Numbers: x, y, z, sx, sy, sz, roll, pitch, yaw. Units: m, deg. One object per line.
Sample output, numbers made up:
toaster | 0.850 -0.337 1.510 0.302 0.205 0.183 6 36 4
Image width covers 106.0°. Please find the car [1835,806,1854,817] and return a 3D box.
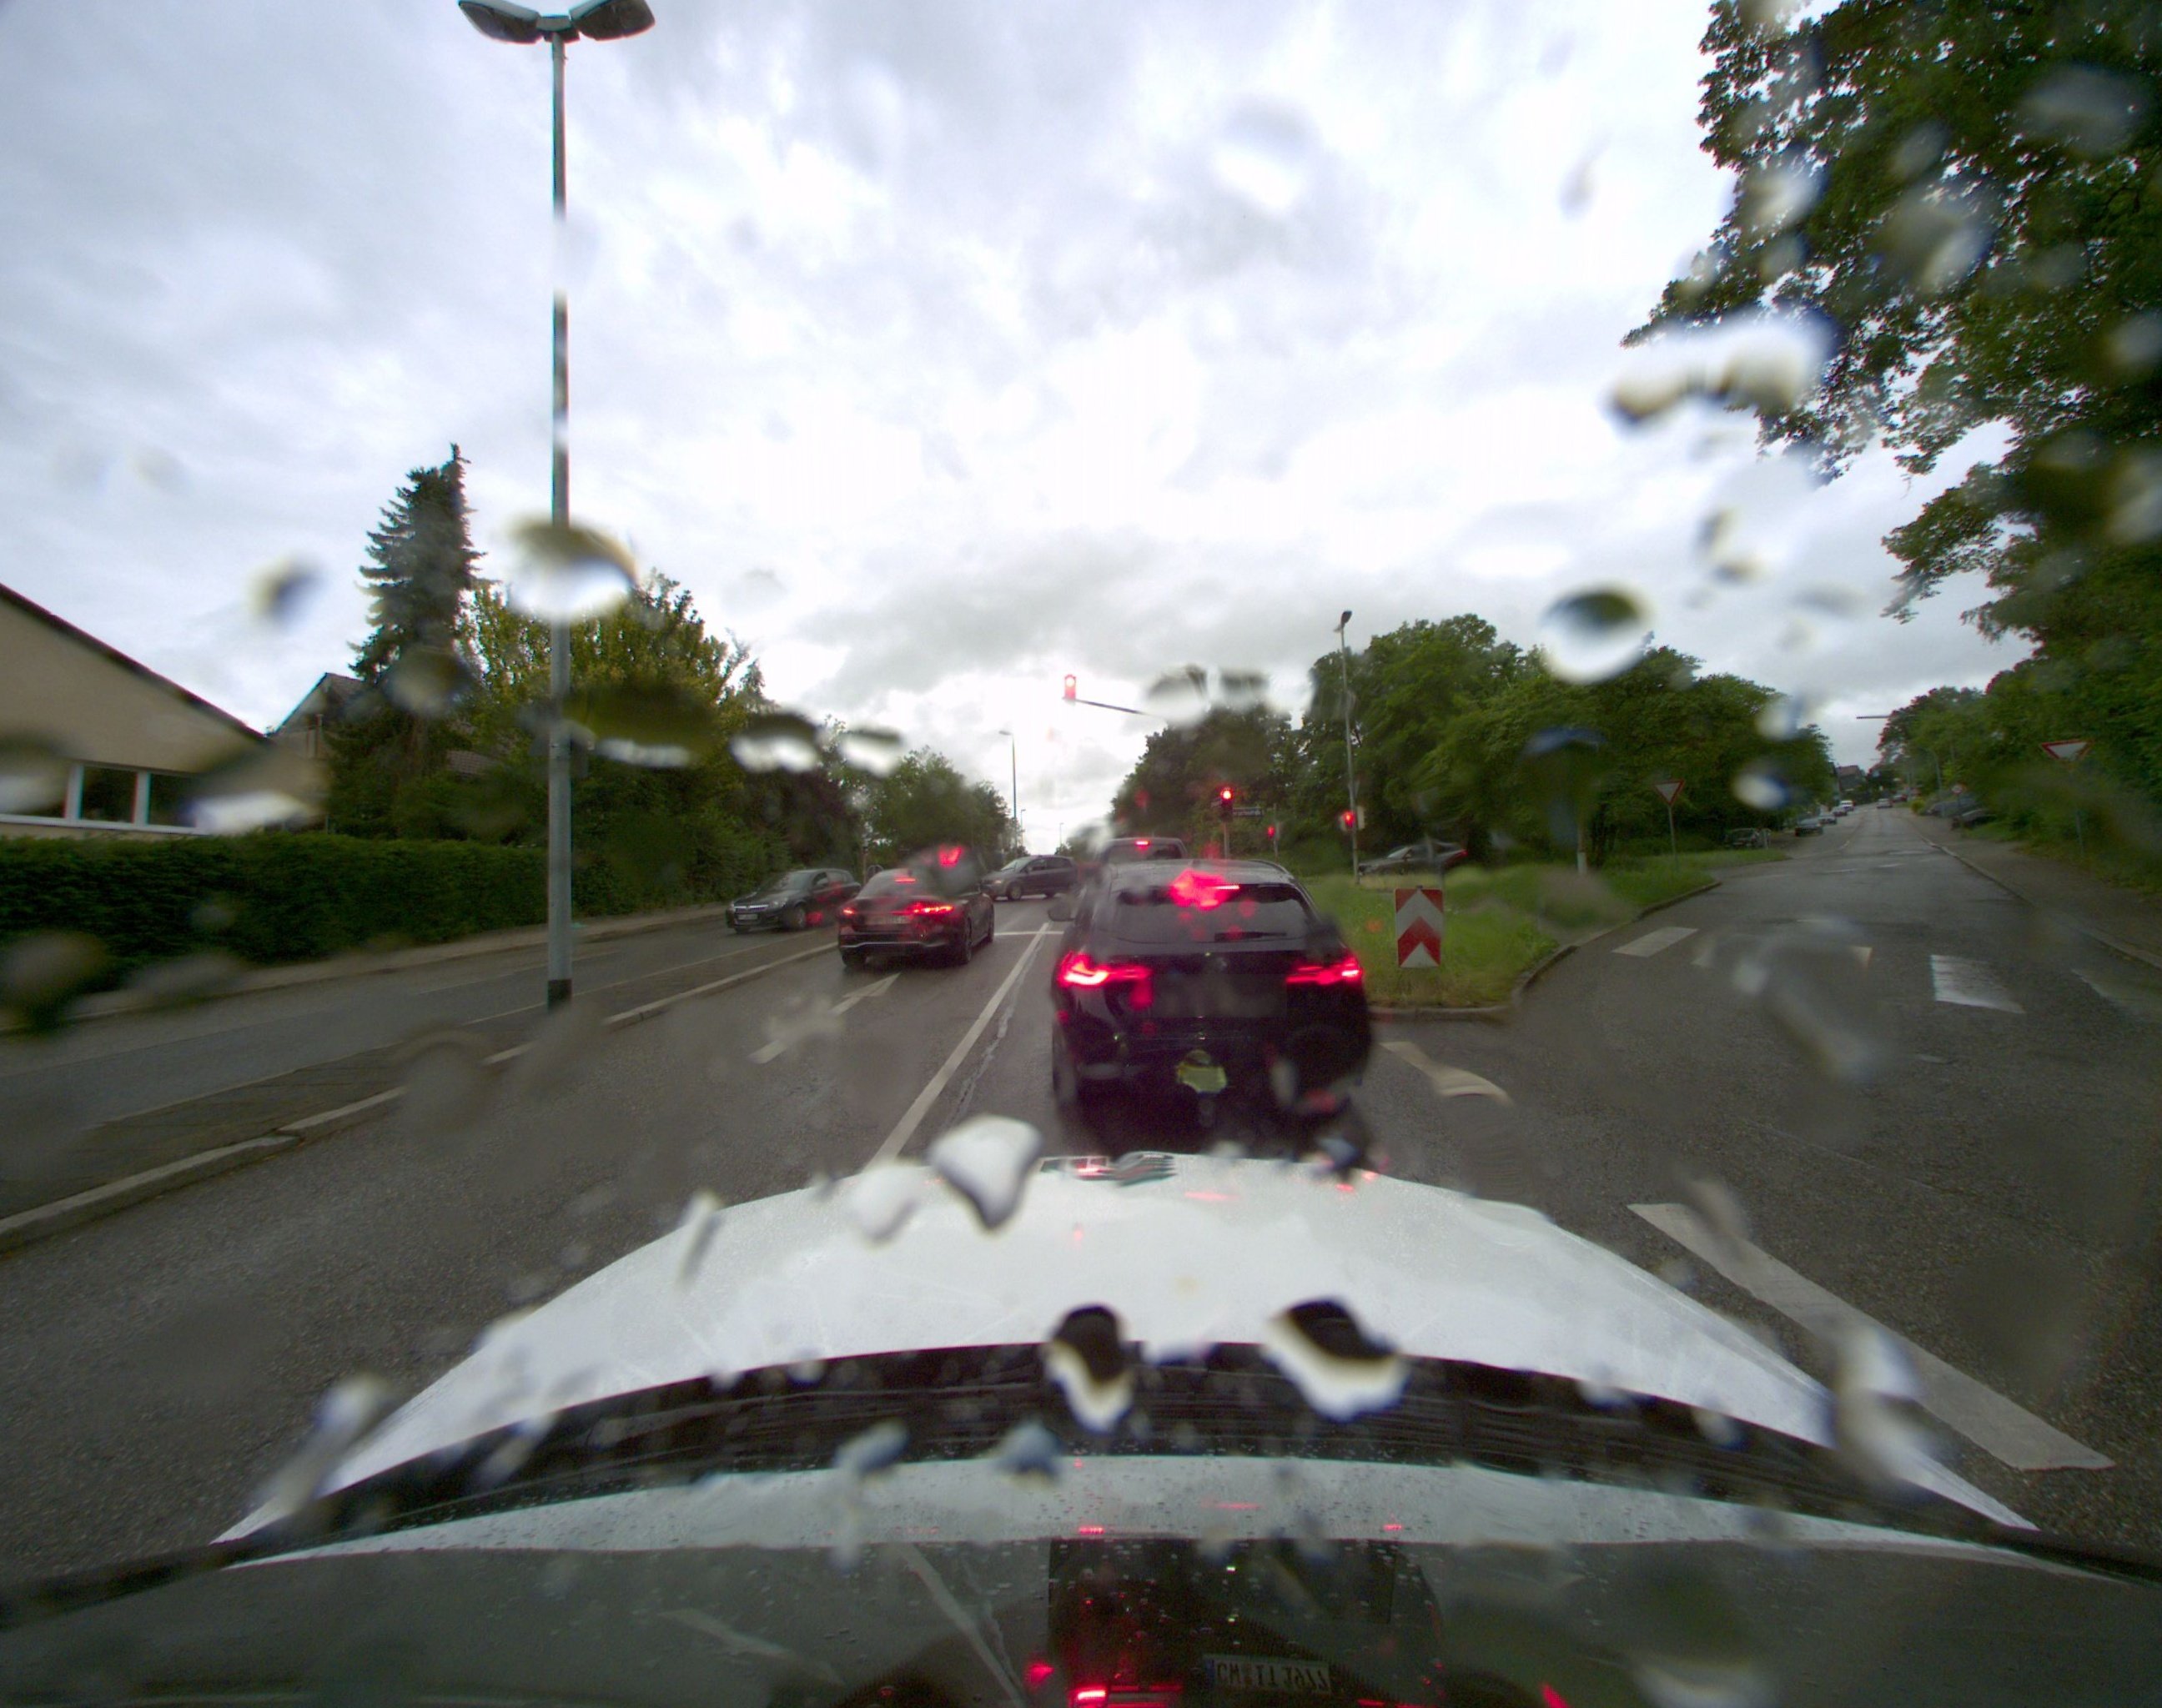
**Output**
car | 114.507 -6.315 122.149 1.880 1.397 4.193 -2 -1 40

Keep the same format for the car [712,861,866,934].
car | -7.133 1.013 20.393 1.884 1.509 4.009 -3 0 8

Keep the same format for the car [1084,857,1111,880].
car | 1.107 1.025 56.060 1.693 1.427 3.512 -4 -1 -1

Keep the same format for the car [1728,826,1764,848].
car | 46.029 -1.171 56.381 1.655 1.370 3.512 -3 0 43

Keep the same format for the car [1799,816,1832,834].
car | 66.282 -2.579 73.496 4.318 1.450 1.881 0 -2 -44

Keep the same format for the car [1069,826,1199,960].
car | 0.835 0.580 13.567 1.811 1.868 3.954 -1 -1 2

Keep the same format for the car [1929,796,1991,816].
car | 87.620 -4.780 81.269 3.949 1.574 1.785 -5 -2 42

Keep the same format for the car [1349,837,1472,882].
car | 14.576 0.250 36.145 4.702 1.717 1.993 -3 0 -10

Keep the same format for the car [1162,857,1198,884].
car | 6.341 1.040 52.523 1.866 1.543 3.954 -4 -1 2

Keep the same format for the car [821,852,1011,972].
car | -2.457 0.822 13.383 1.986 1.527 4.330 -4 -1 2

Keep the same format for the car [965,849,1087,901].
car | -1.970 0.754 29.729 4.050 1.602 1.729 -3 0 -36

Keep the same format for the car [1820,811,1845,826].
car | 88.214 -4.126 95.625 1.971 1.446 4.321 -2 -1 40

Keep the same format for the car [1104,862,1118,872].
car | 5.033 2.223 137.982 1.983 1.624 3.959 -4 -1 6

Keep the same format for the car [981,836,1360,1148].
car | 0.653 0.745 6.431 1.889 1.551 4.621 -1 -1 5
